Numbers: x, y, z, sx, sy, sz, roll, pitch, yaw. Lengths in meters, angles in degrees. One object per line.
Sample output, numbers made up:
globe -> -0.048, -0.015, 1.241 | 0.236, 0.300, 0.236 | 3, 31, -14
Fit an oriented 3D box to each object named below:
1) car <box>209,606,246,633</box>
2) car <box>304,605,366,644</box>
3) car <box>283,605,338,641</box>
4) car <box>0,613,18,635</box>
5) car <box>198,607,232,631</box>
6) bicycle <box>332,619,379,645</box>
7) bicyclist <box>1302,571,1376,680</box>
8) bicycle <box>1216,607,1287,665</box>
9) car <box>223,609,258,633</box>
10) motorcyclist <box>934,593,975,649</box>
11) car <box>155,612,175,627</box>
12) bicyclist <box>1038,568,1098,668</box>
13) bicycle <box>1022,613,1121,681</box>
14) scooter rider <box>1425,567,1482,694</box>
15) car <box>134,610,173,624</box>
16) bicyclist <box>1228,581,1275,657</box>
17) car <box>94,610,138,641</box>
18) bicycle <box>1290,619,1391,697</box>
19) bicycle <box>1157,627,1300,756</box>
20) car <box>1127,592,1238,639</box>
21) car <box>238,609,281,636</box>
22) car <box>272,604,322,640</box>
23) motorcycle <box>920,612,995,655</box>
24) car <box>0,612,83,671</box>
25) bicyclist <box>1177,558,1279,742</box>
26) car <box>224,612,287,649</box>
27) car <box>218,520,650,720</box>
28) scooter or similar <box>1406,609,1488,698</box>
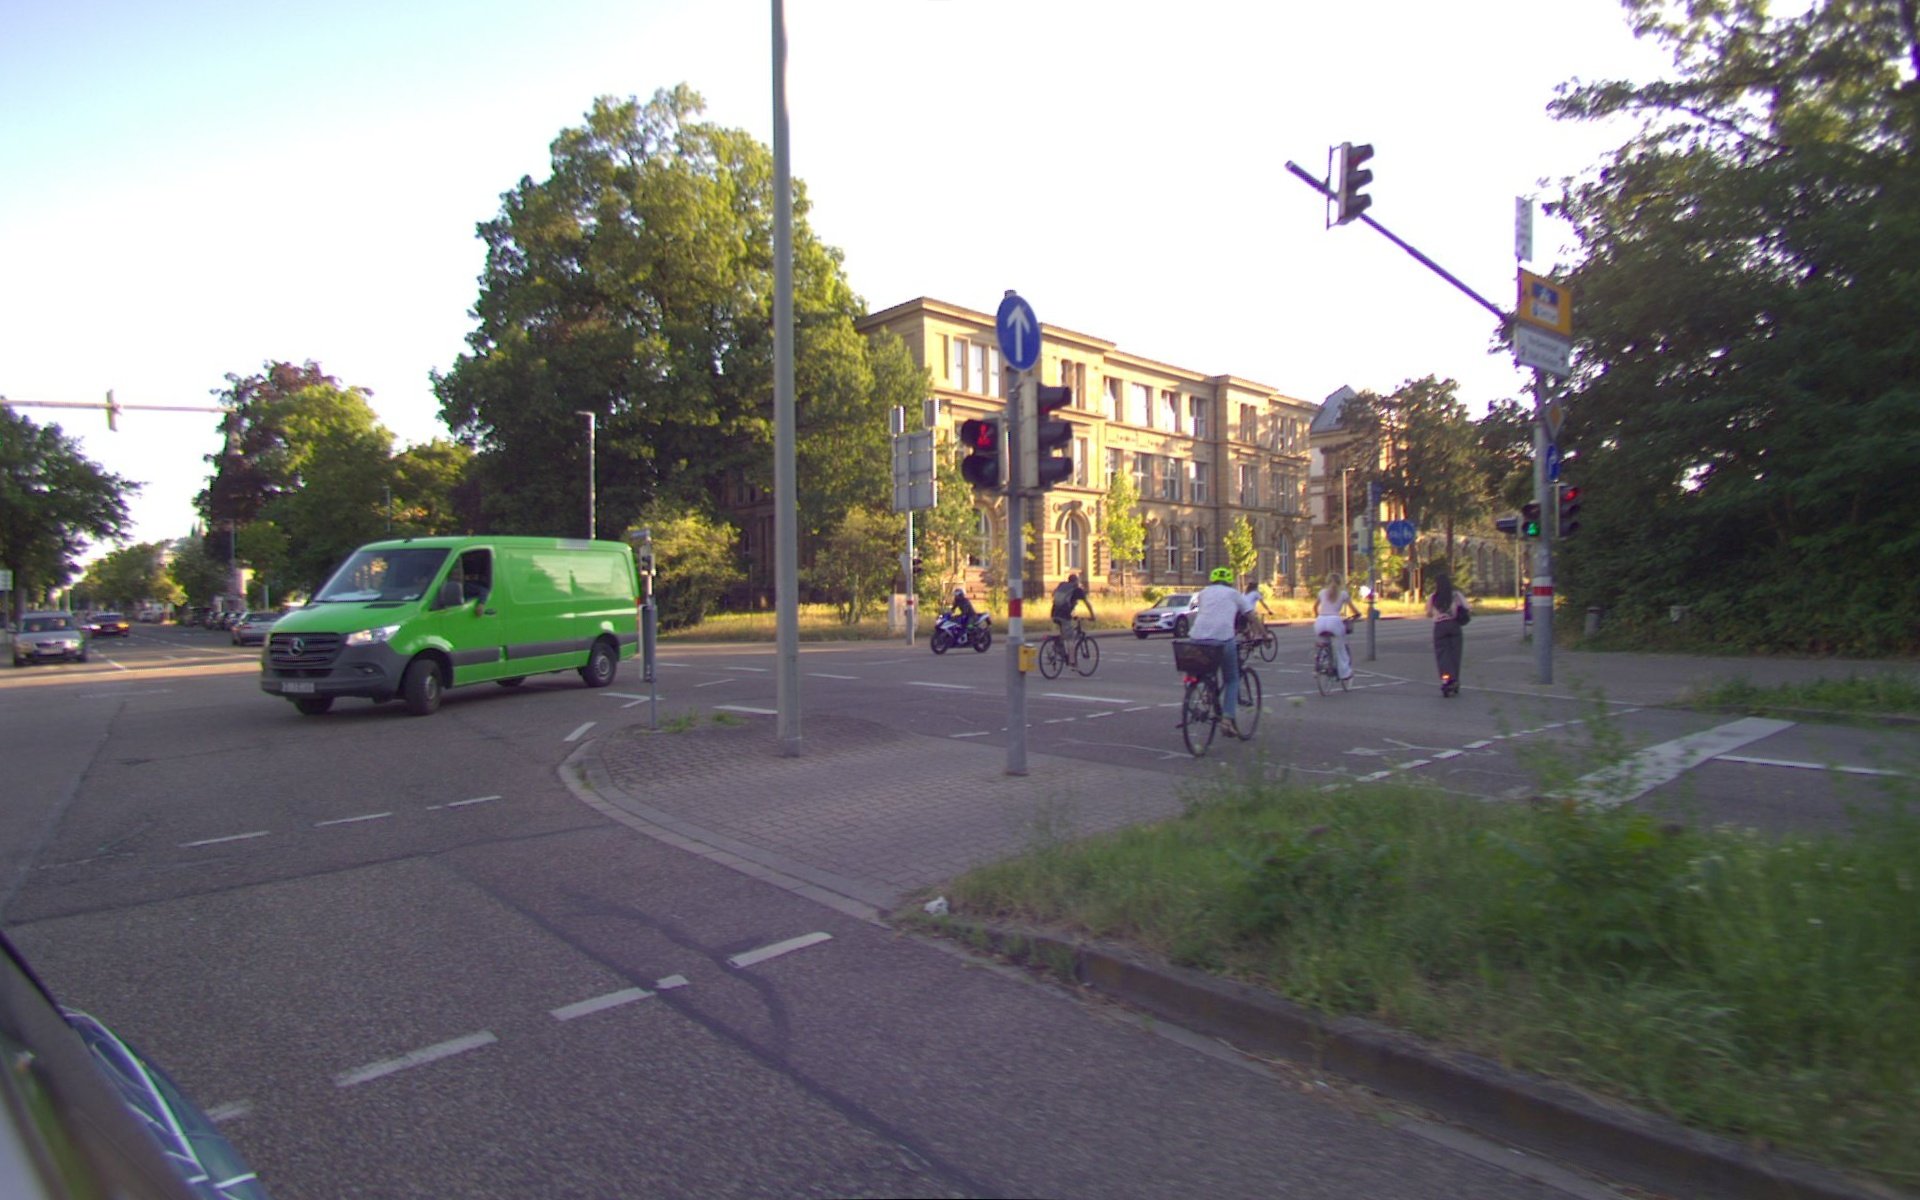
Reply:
car -> -58.686, 1.564, 81.091 | 1.969, 2.029, 4.005 | 0, 1, -42
car -> -31.645, 1.208, 51.207 | 1.835, 1.859, 4.124 | -1, 0, -44
car -> -35.798, 1.257, 55.735 | 1.834, 1.859, 4.192 | -1, 0, -42
car -> -67.815, 1.643, 69.862 | 3.792, 1.519, 1.810 | 0, 1, -3
car -> -62.593, 1.570, 85.007 | 1.969, 1.829, 4.005 | 0, 1, -42
bicycle -> -28.667, 1.488, 48.013 | 1.847, 1.165, 0.754 | 0, 1, -39
bicyclist -> 5.525, 0.359, 14.743 | 0.761, 1.529, 0.845 | 0, 0, 40
bicycle -> 6.329, 0.754, 21.927 | 1.856, 1.146, 0.616 | -1, 1, -43
car -> -54.868, 1.561, 77.106 | 1.772, 1.741, 4.006 | -1, 1, -41
motorcyclist -> -0.141, 0.522, 25.170 | 0.693, 1.368, 0.753 | 0, -1, -43
car -> -94.660, 2.338, 120.473 | 1.651, 1.741, 3.642 | -1, 0, -41
bicyclist -> 1.862, 0.296, 17.426 | 0.786, 1.679, 0.701 | -1, 1, -43
bicycle -> 1.941, 0.788, 17.499 | 1.797, 1.071, 0.702 | -1, 1, -43
scooter rider -> 7.128, 0.432, 14.624 | 0.497, 1.780, 0.568 | 0, -1, -42
car -> -98.500, 2.018, 123.602 | 3.700, 1.630, 1.825 | -1, 0, -41
bicyclist -> 6.309, 0.394, 21.917 | 0.896, 1.598, 0.606 | -1, 1, -43
car -> -50.847, 1.502, 60.985 | 1.969, 1.807, 4.006 | -1, 0, -40
bicycle -> 5.596, 0.811, 14.825 | 0.773, 1.014, 1.989 | 0, 0, 40
bicycle -> 2.501, 0.787, 9.288 | 0.565, 1.022, 1.778 | -1, 0, 39
car -> 8.295, 0.542, 37.484 | 4.444, 1.648, 1.772 | -1, 0, -43
car -> -46.296, 1.472, 66.877 | 1.908, 1.655, 4.005 | -1, 0, -41
car -> -38.900, 1.283, 59.342 | 1.908, 2.029, 4.005 | -1, 0, -41
motorcycle -> -0.042, 0.825, 25.252 | 1.850, 1.009, 0.757 | -1, 0, -43
car -> -27.249, 1.183, 30.080 | 1.665, 1.521, 3.705 | -4, 2, -42
bicyclist -> 2.456, 0.431, 9.247 | 0.555, 1.581, 0.887 | -1, -1, 39
car -> -29.263, 1.228, 41.987 | 1.708, 1.419, 4.145 | -1, 0, -41
car -> -7.118, 0.244, 14.728 | 2.028, 2.295, 5.907 | -1, 0, 17
scooter or similar -> 6.987, 0.733, 14.485 | 1.400, 1.198, 0.564 | 0, -1, -42
